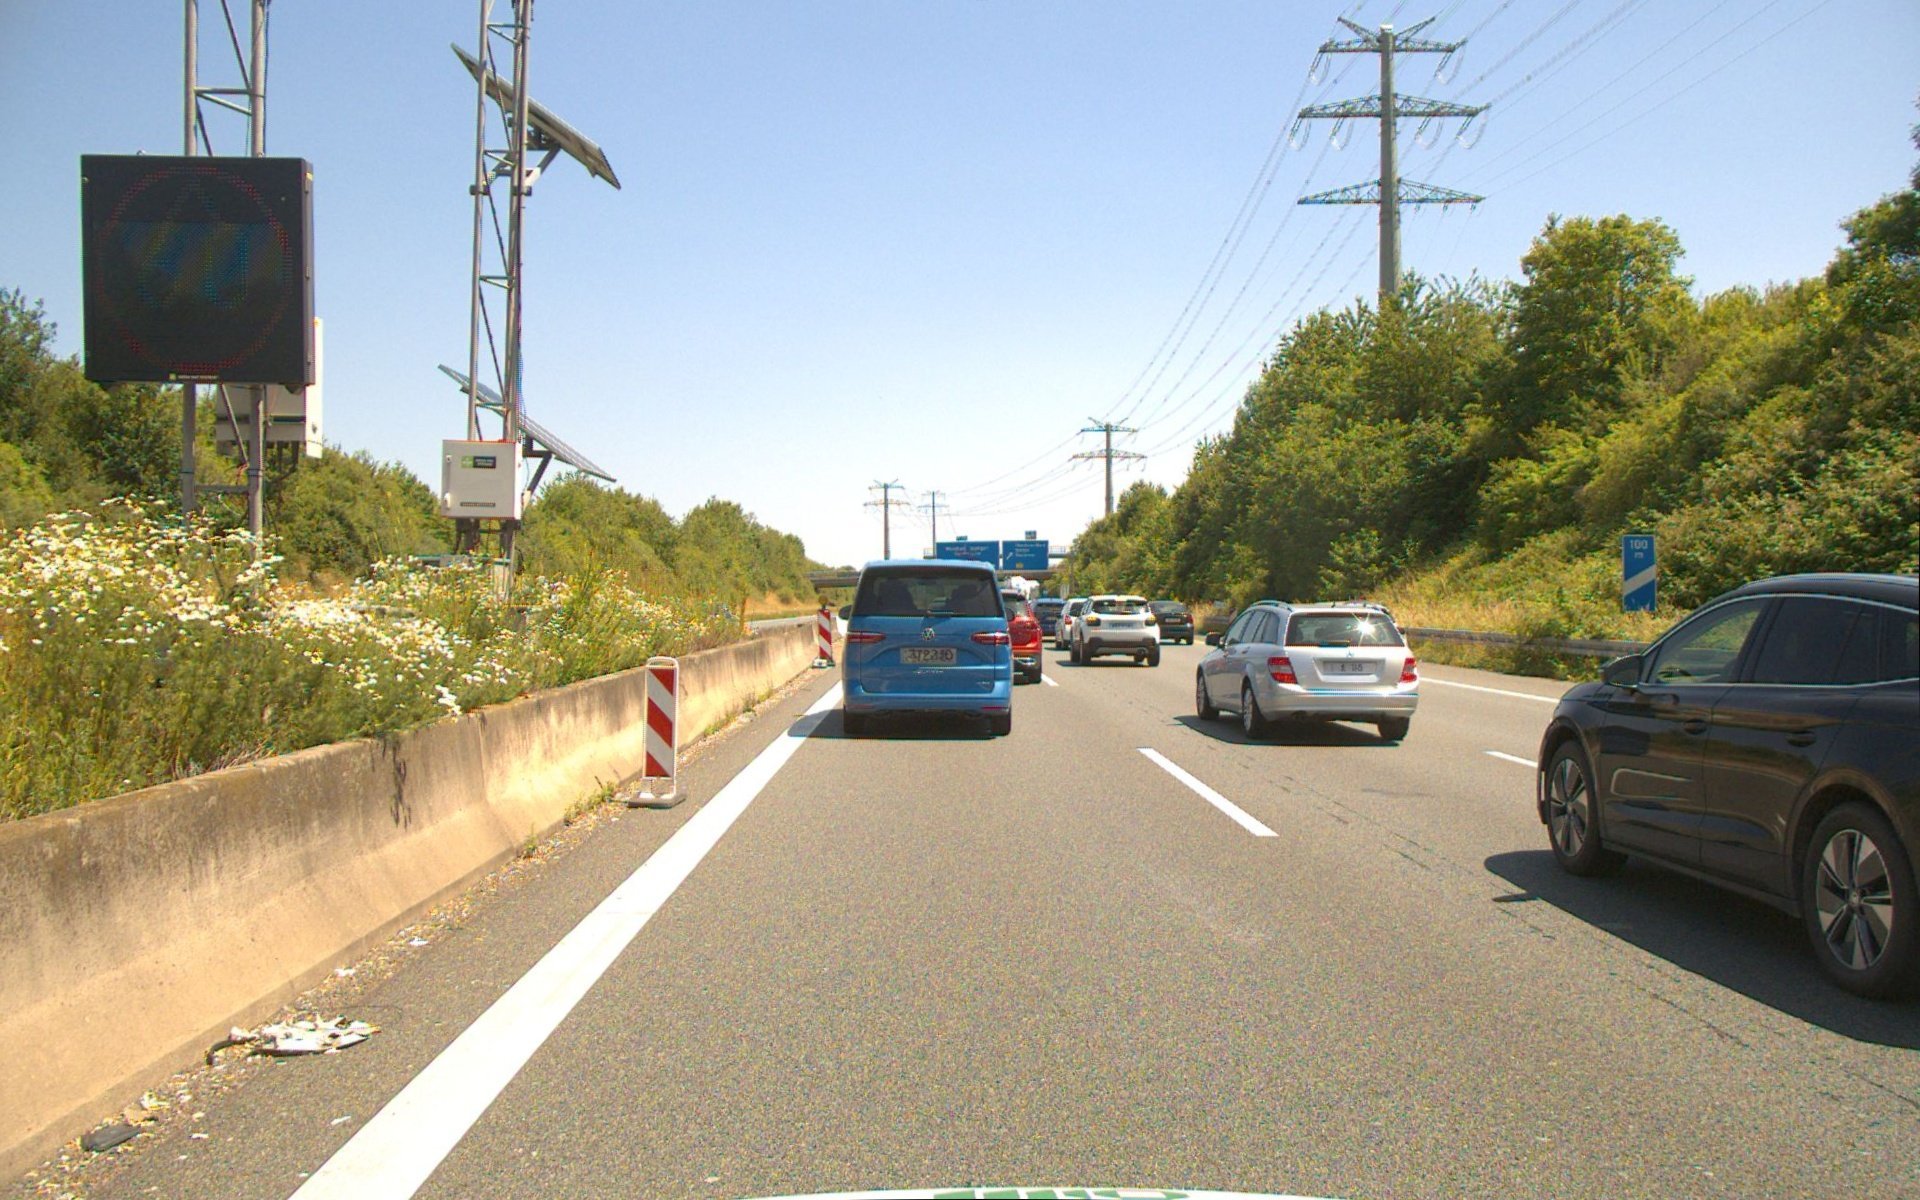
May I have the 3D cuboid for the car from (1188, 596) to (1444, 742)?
[{"bbox_3d":[3.929,0.702,19.018,1.785,1.462,4.381,1,0,-3],"label":"car"}]

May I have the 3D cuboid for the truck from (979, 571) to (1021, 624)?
[{"bbox_3d":[2.177,-0.143,91.650,1.953,2.771,5.677,1,0,-2],"label":"truck"}]

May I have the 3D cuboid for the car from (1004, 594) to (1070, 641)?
[{"bbox_3d":[2.644,0.583,57.975,1.870,1.542,4.381,1,0,-3],"label":"car"}]

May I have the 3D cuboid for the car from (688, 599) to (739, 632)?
[{"bbox_3d":[-12.502,0.779,84.198,1.953,1.573,4.911,-1,0,-1],"label":"car"}]

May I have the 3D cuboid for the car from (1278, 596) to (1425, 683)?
[{"bbox_3d":[7.248,0.686,31.011,1.705,1.496,4.013,1,0,-2],"label":"car"}]

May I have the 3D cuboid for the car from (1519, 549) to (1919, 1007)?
[{"bbox_3d":[4.277,0.650,7.578,1.791,1.643,4.429,0,0,-2],"label":"car"}]

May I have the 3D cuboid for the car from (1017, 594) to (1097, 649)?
[{"bbox_3d":[2.832,0.596,49.307,1.870,1.542,4.381,1,0,-3],"label":"car"}]

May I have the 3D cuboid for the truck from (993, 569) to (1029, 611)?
[{"bbox_3d":[5.260,-1.009,174.030,2.591,4.143,16.433,1,0,-2],"label":"truck"}]

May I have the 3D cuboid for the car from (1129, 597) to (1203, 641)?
[{"bbox_3d":[6.905,0.614,55.788,1.700,1.402,4.299,1,0,-3],"label":"car"}]

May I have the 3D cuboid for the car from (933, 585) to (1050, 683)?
[{"bbox_3d":[0.495,0.572,30.155,1.870,1.659,4.381,0,0,-2],"label":"car"}]

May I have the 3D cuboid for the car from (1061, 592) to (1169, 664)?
[{"bbox_3d":[3.483,0.597,37.754,1.870,1.534,3.919,1,0,-3],"label":"car"}]

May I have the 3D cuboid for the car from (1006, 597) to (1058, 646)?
[{"bbox_3d":[3.137,0.917,72.769,1.953,2.049,3.999,1,0,-2],"label":"car"}]

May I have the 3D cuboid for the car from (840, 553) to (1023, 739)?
[{"bbox_3d":[-0.447,0.479,19.398,1.834,1.912,4.379,1,0,-5],"label":"car"}]
